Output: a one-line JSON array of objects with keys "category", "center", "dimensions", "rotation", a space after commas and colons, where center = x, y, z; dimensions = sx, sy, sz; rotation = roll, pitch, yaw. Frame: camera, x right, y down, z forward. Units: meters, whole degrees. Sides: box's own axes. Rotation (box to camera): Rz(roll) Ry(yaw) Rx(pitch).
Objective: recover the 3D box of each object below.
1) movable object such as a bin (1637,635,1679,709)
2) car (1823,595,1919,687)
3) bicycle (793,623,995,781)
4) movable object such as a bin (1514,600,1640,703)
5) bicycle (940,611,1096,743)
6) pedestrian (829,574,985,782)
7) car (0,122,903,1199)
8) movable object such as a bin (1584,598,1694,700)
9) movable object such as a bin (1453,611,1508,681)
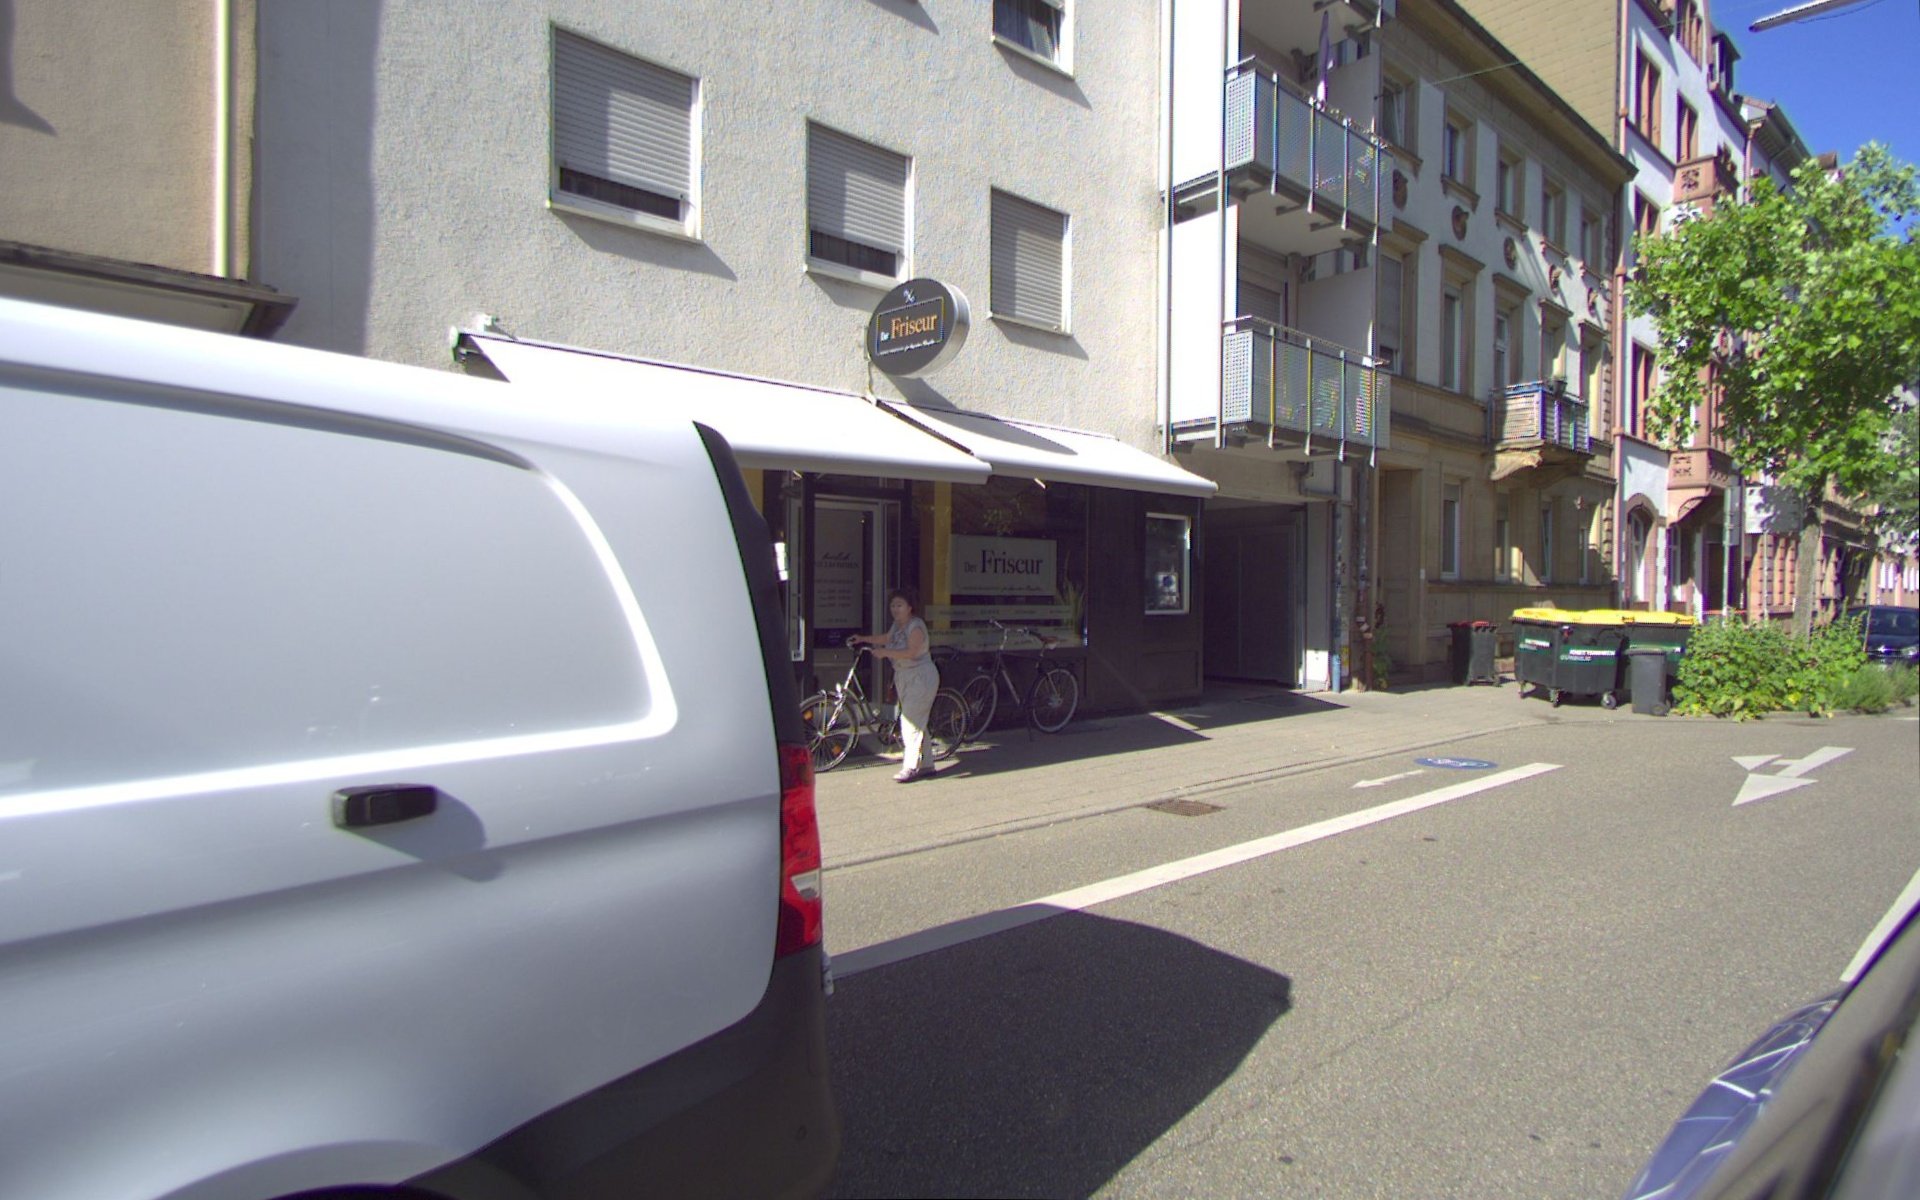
[{"category": "movable object such as a bin", "center": [9.579, 0.976, 13.890], "dimensions": [0.399, 0.933, 0.478], "rotation": [3, 3, 41]}, {"category": "car", "center": [16.845, 0.677, 18.218], "dimensions": [3.293, 1.510, 1.550], "rotation": [0, 1, -41]}, {"category": "bicycle", "center": [-0.510, 0.796, 8.430], "dimensions": [1.760, 1.146, 0.402], "rotation": [0, 4, -41]}, {"category": "movable object such as a bin", "center": [8.850, 0.706, 14.581], "dimensions": [1.030, 1.341, 1.216], "rotation": [1, 3, 1]}, {"category": "bicycle", "center": [0.611, 0.726, 10.107], "dimensions": [1.760, 1.193, 0.402], "rotation": [0, 0, -41]}, {"category": "pedestrian", "center": [-0.446, 0.592, 8.384], "dimensions": [0.930, 1.556, 0.825], "rotation": [0, 4, -41]}, {"category": "car", "center": [-2.505, 0.451, 0.861], "dimensions": [4.913, 1.892, 1.838], "rotation": [0, 0, -44]}, {"category": "movable object such as a bin", "center": [9.967, 0.690, 14.904], "dimensions": [0.943, 1.365, 1.066], "rotation": [1, 3, 11]}, {"category": "movable object such as a bin", "center": [8.541, 0.747, 16.627], "dimensions": [0.557, 1.094, 0.617], "rotation": [1, 3, 1]}]
